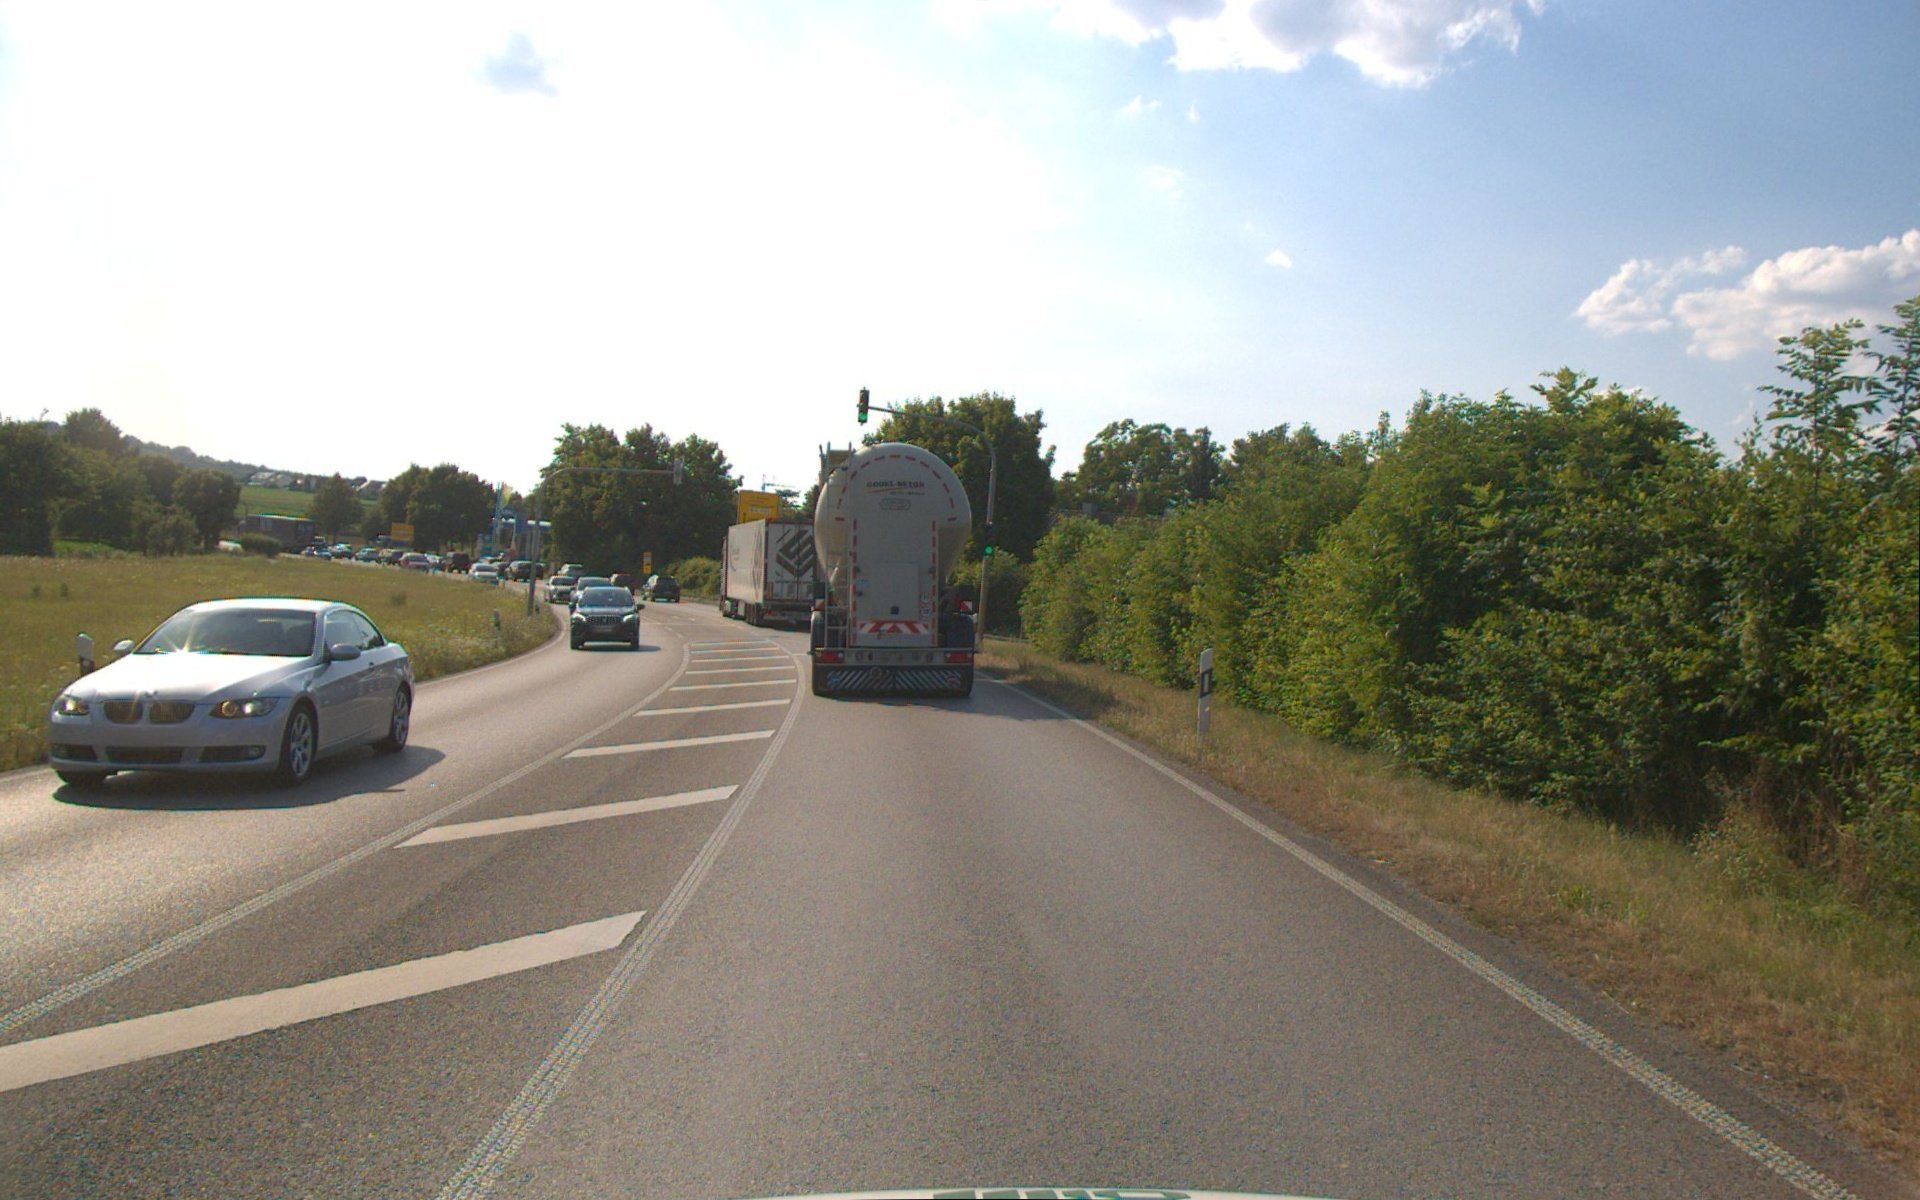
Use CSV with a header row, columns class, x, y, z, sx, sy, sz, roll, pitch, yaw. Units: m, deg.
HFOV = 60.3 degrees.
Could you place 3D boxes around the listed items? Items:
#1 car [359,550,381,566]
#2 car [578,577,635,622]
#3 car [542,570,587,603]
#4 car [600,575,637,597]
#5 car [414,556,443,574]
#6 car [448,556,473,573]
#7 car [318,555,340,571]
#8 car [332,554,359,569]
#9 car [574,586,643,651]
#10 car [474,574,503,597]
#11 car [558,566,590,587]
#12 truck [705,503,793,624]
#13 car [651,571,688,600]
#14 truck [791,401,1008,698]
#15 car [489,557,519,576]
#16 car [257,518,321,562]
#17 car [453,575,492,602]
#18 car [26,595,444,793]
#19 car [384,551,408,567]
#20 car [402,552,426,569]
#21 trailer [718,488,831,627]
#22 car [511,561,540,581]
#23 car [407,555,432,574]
class,x,y,z,sx,sy,sz,roll,pitch,yaw
car,-66.503,-4.746,186.511,1.859,1.627,3.966,2,0,-26
car,-14.945,-0.053,70.059,1.956,1.755,4.419,2,1,-8
car,-21.479,-0.724,89.760,1.815,1.685,3.974,2,-1,-22
car,-24.254,-0.998,117.502,1.663,1.493,3.967,2,-1,-26
car,-54.187,-3.578,168.653,2.062,1.627,3.962,2,0,-29
car,-49.109,-3.475,162.505,1.857,1.627,3.971,2,0,-23
car,-68.342,-3.982,179.036,1.859,1.627,3.967,2,0,-26
car,-71.021,-4.420,191.174,1.869,1.627,3.946,2,0,-38
car,-9.270,0.482,43.845,1.664,1.580,4.141,2,-1,-11
car,-35.739,-1.139,125.193,1.853,1.627,3.978,2,0,-19
car,-33.051,-1.980,141.446,1.818,1.685,3.967,2,-1,-26
truck,-9.372,-1.505,72.788,2.913,4.972,6.405,2,-1,-15
car,-17.886,-0.876,101.618,1.959,1.685,3.986,2,-1,-13
truck,-1.466,-0.656,30.057,2.919,4.248,11.644,2,-1,-7
car,-41.540,-3.058,150.635,2.057,1.627,3.971,2,0,-23
car,-83.041,-7.454,204.565,3.519,5.147,13.054,2,0,-39
car,-32.435,-0.784,110.016,1.859,1.627,3.967,2,0,-26
car,-5.807,0.677,13.952,1.666,1.357,4.745,1,0,-4
car,-61.318,-4.413,179.850,1.859,1.627,3.966,2,0,-27
car,-57.860,-4.200,175.106,1.859,1.627,3.967,2,0,-26
trailer,-7.515,-1.496,65.669,2.915,4.967,10.247,2,-1,-14
car,-37.595,-2.490,143.026,1.856,1.627,3.972,2,0,-23
car,-49.069,-3.194,150.156,1.855,1.627,3.975,2,0,-21
